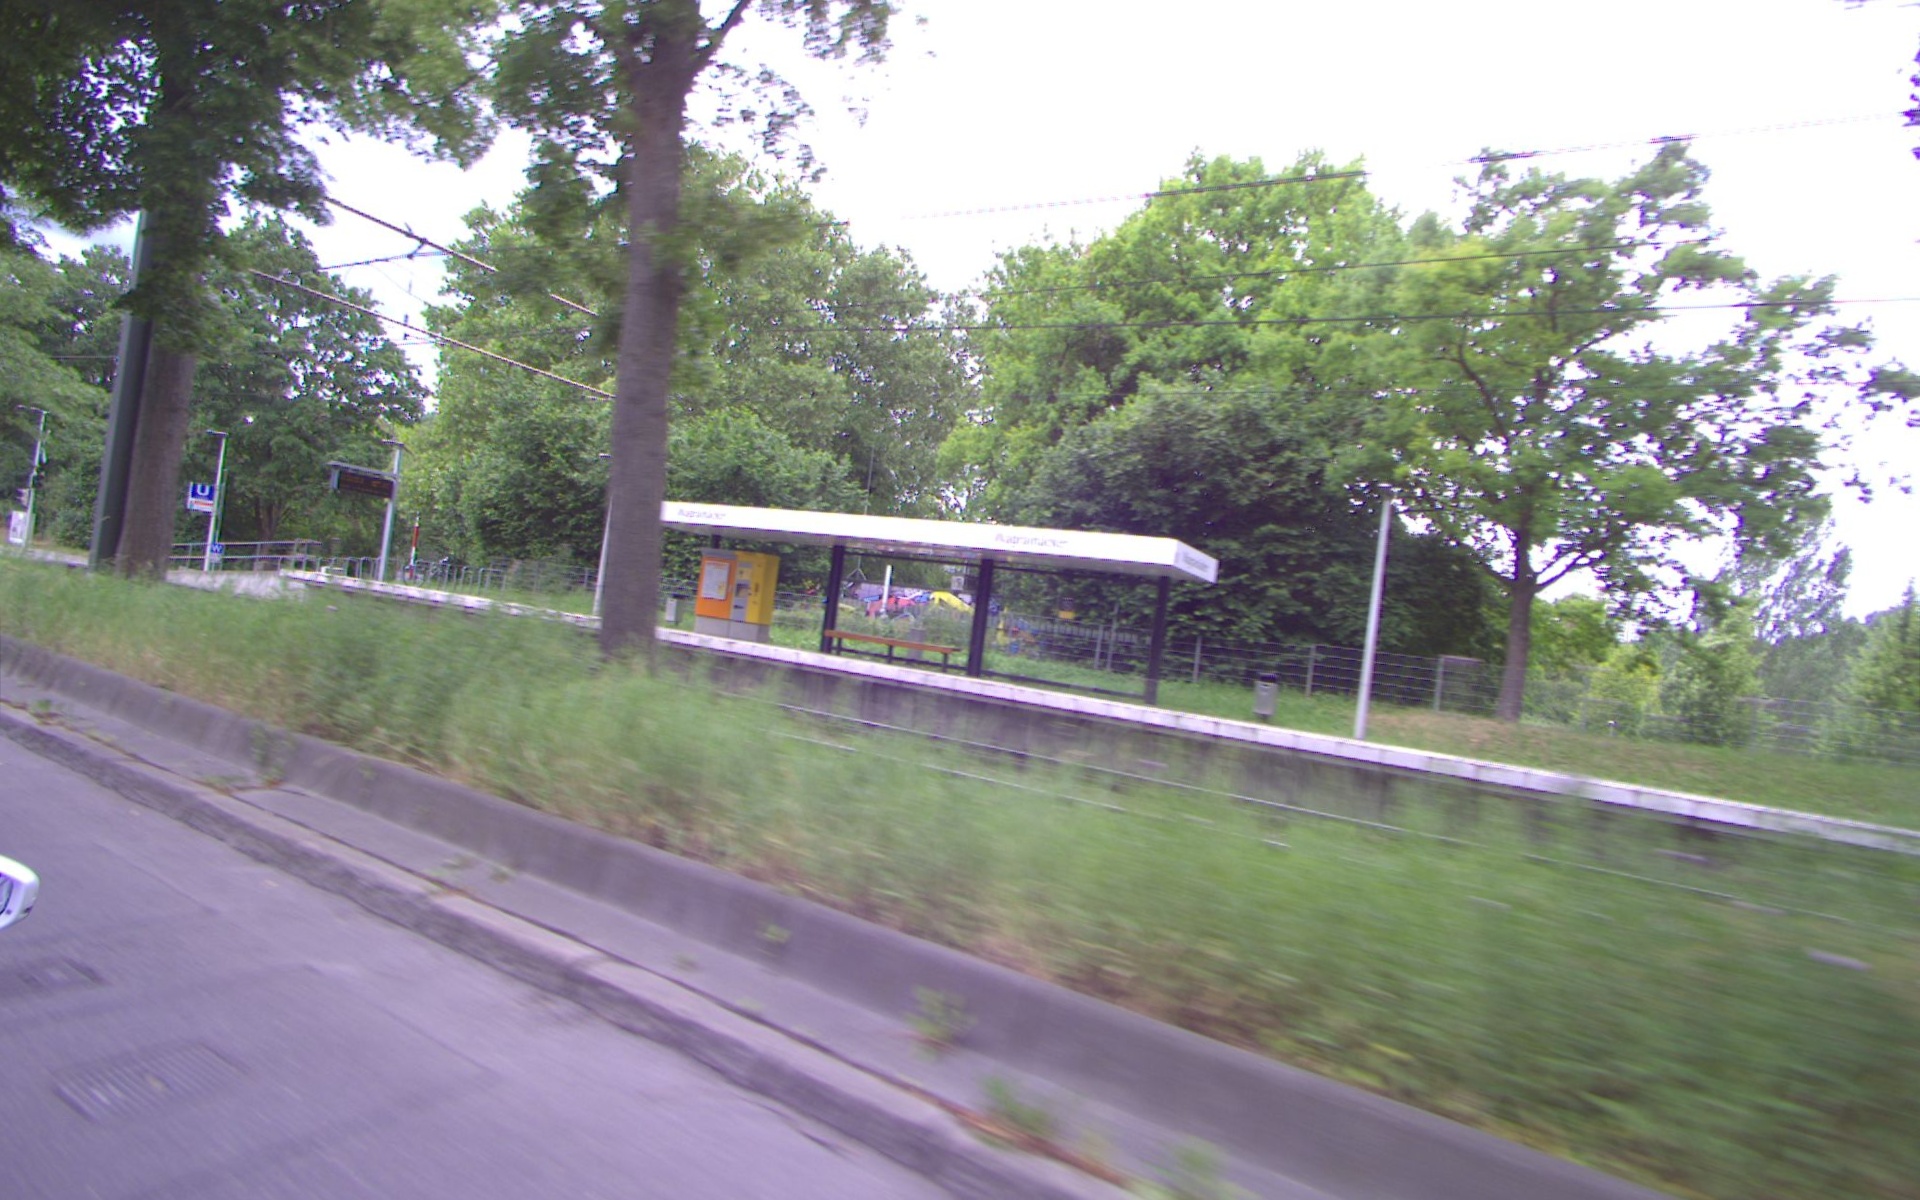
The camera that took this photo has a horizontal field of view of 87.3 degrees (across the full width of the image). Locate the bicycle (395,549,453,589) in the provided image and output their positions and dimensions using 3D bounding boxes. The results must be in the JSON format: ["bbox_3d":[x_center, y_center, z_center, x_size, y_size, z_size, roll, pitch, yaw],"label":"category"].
[{"bbox_3d":[-16.896,-0.966,31.751,0.442,0.984,1.514,7,-3,27],"label":"bicycle"}]
